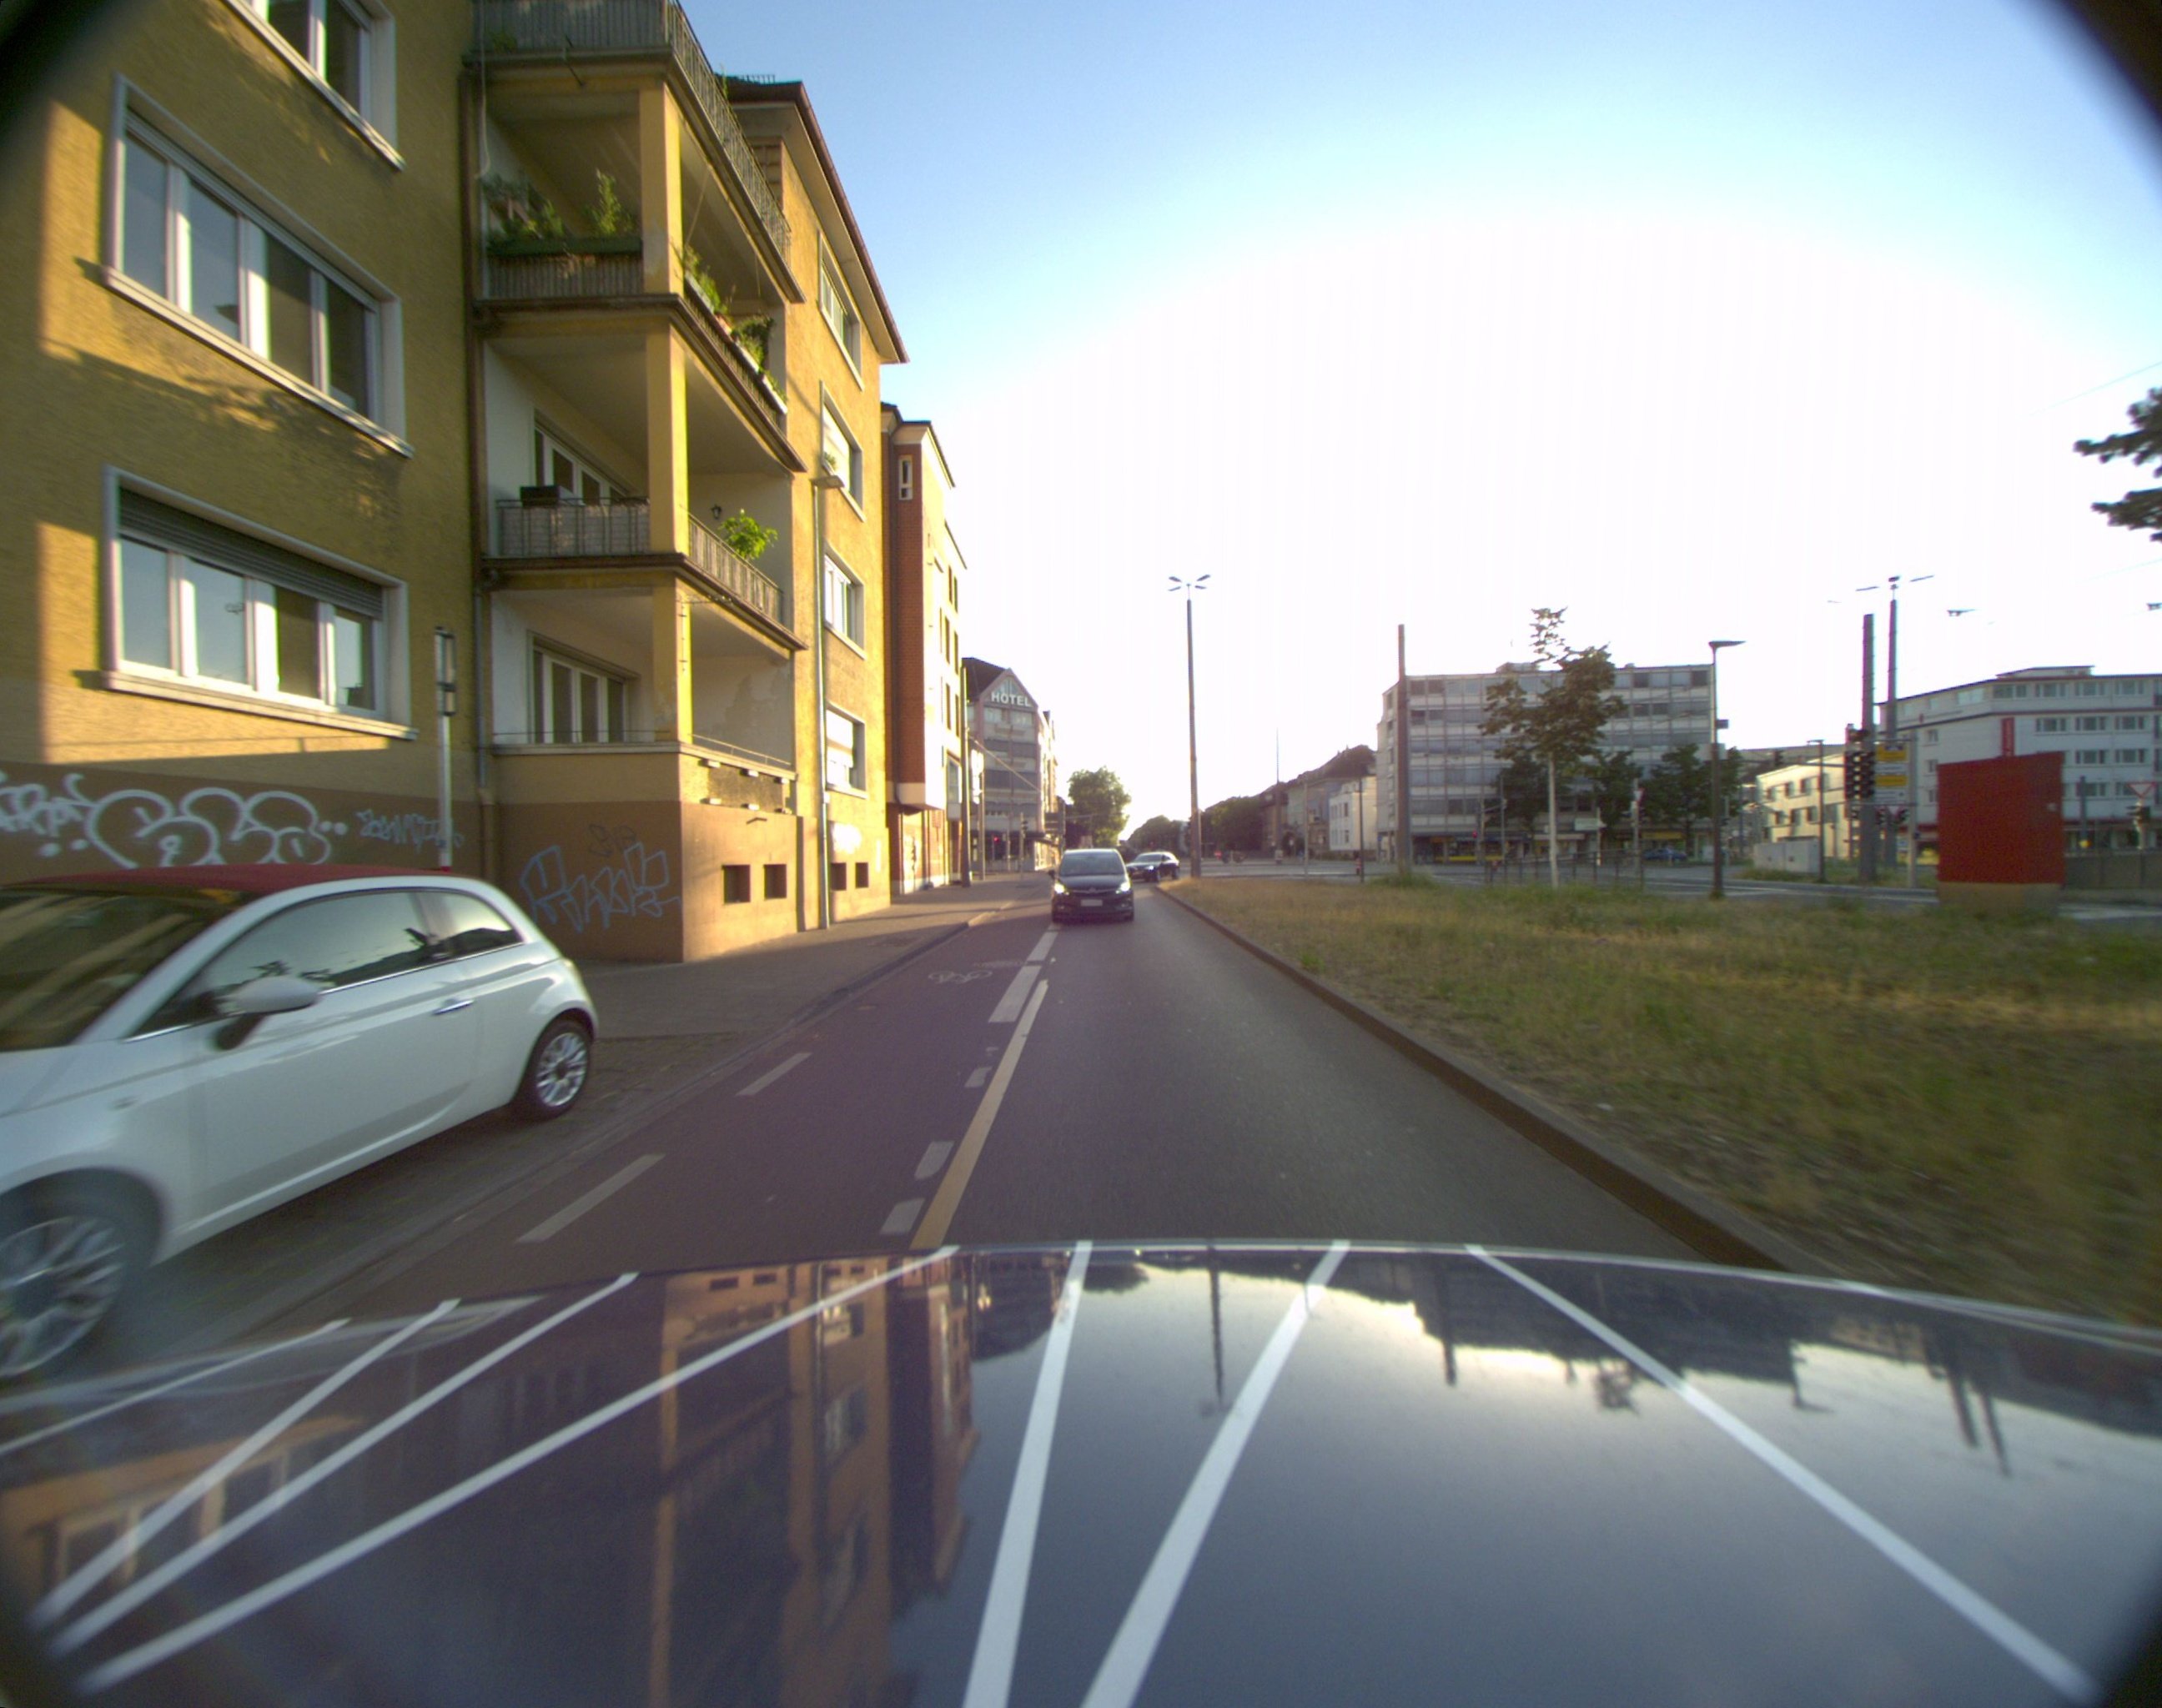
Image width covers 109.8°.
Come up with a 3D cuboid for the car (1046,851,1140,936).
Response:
[{"bbox_3d":[0.289,0.767,17.002,1.800,1.609,4.387,-1,0,1],"label":"car"}]

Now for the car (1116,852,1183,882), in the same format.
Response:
[{"bbox_3d":[3.498,0.633,38.100,1.847,1.399,4.233,-1,0,28],"label":"car"}]

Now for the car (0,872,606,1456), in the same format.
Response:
[{"bbox_3d":[-3.889,0.918,3.054,1.673,1.509,3.601,3,0,-1],"label":"car"}]
